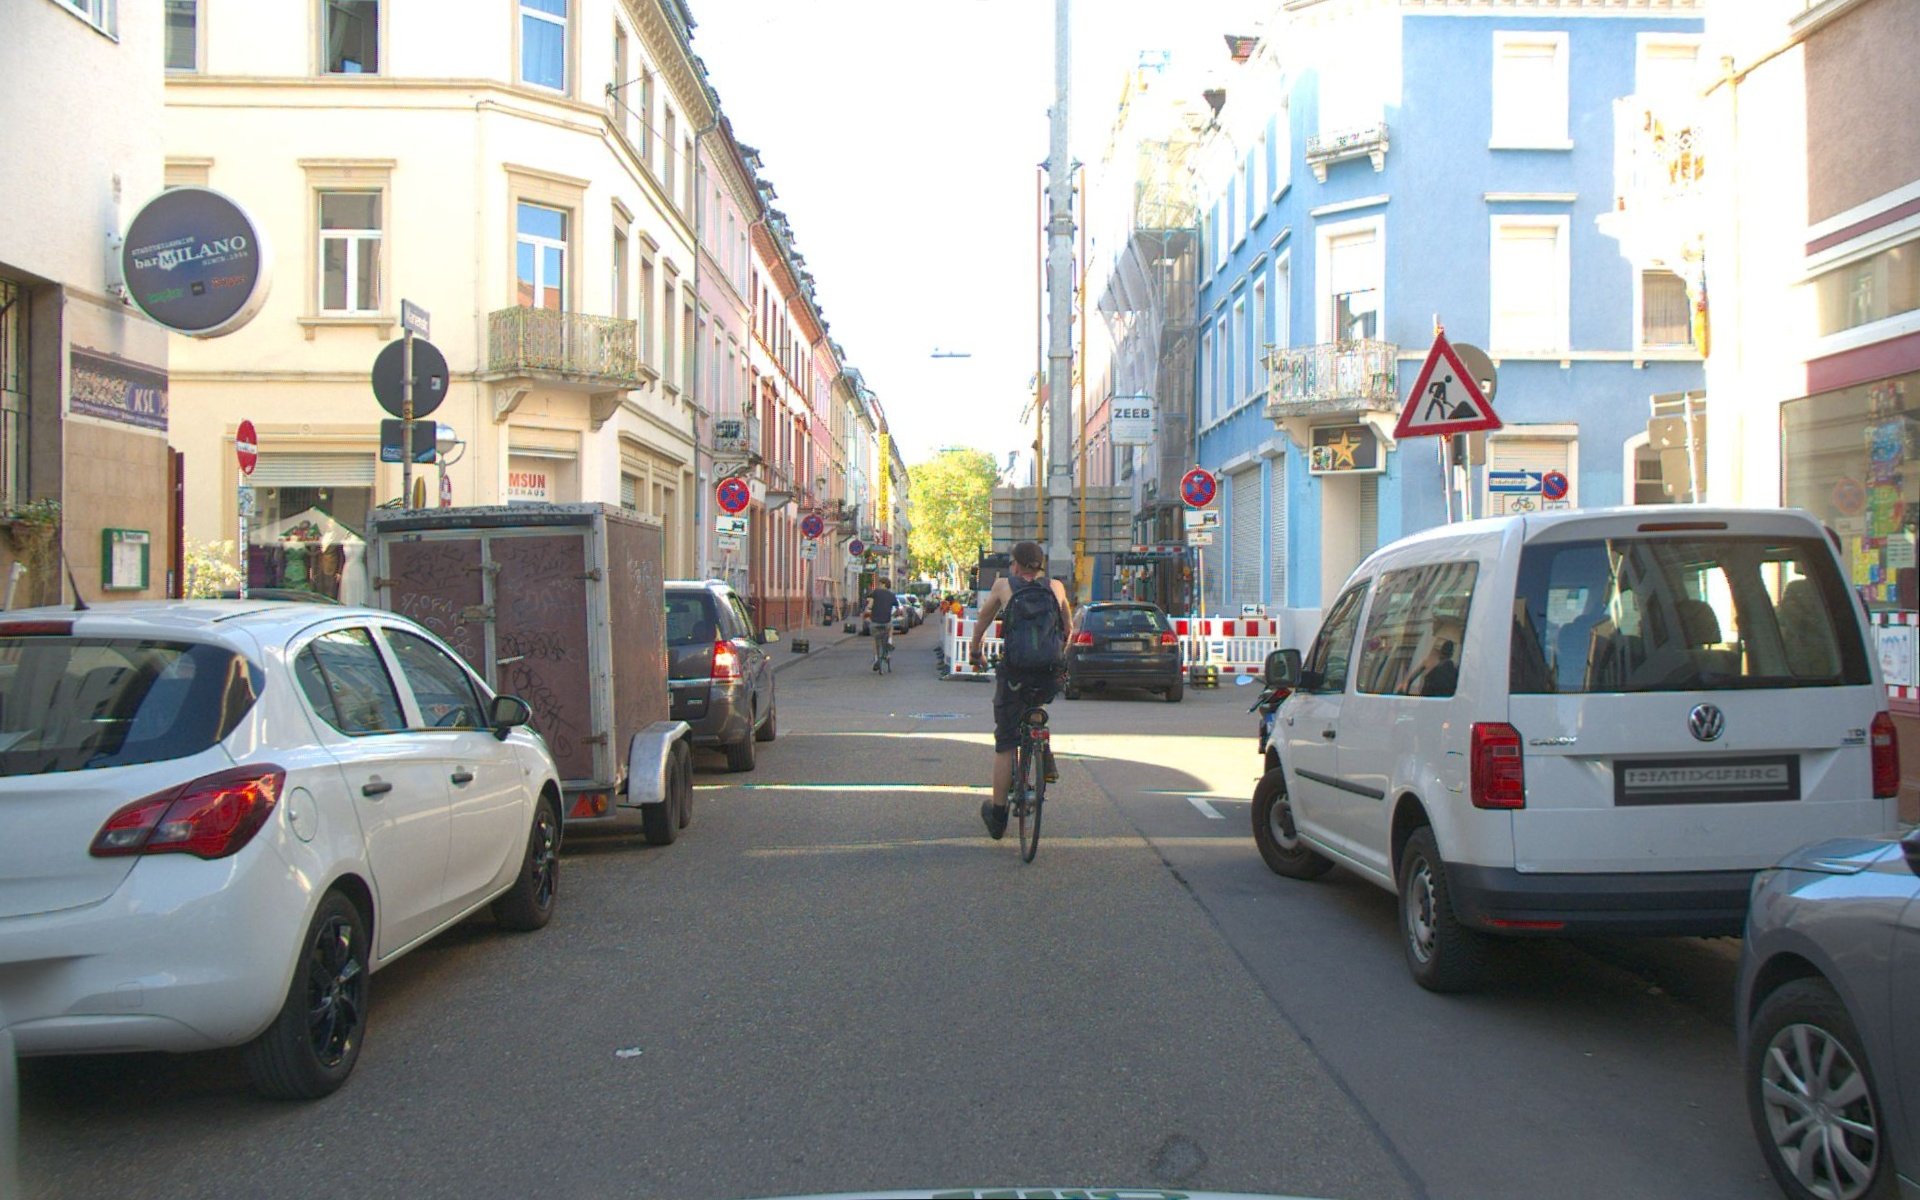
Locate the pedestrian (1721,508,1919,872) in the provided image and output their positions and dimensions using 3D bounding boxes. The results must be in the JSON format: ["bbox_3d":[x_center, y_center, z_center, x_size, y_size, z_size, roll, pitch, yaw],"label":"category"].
[{"bbox_3d":[4.772,0.451,8.904,0.809,1.824,0.990,-2,0,-1],"label":"pedestrian"}]

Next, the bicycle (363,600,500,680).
[{"bbox_3d":[-8.104,0.608,25.400,1.881,1.169,0.613,1,0,6],"label":"bicycle"}]

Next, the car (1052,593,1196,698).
[{"bbox_3d":[2.429,0.642,25.378,1.735,1.459,4.033,1,0,-1],"label":"car"}]

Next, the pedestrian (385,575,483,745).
[{"bbox_3d":[-5.698,0.634,17.957,0.679,1.730,0.865,4,2,0],"label":"pedestrian"}]

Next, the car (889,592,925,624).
[{"bbox_3d":[-2.591,0.389,81.995,1.638,1.467,4.165,-2,0,0],"label":"car"}]

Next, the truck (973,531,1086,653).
[{"bbox_3d":[1.685,-0.173,43.228,2.607,2.863,7.393,1,0,0],"label":"truck"}]

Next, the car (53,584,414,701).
[{"bbox_3d":[-9.658,0.540,22.237,4.056,1.481,1.758,1,0,-3],"label":"car"}]

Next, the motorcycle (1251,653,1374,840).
[{"bbox_3d":[2.427,0.969,11.543,0.703,1.105,1.998,-4,-1,10],"label":"motorcycle"}]

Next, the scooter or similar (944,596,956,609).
[{"bbox_3d":[-0.681,0.164,111.236,0.755,0.888,0.770,1,0,-1],"label":"scooter or similar"}]

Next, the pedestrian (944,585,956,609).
[{"bbox_3d":[-0.687,-0.185,111.642,0.755,1.606,0.900,1,0,-1],"label":"pedestrian"}]

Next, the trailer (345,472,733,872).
[{"bbox_3d":[-2.553,0.387,11.051,1.628,2.097,4.361,-1,0,-3],"label":"trailer"}]

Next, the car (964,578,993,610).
[{"bbox_3d":[1.503,-0.463,140.143,2.261,2.582,6.769,-2,0,0],"label":"car"}]

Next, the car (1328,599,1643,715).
[{"bbox_3d":[7.123,0.755,22.667,3.788,1.479,1.677,1,0,0],"label":"car"}]

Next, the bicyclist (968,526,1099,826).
[{"bbox_3d":[0.414,0.427,9.778,0.687,1.662,1.090,1,0,0],"label":"bicyclist"}]

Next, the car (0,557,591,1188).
[{"bbox_3d":[-2.609,0.708,6.100,1.642,1.582,3.817,-1,0,-1],"label":"car"}]

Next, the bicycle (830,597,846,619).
[{"bbox_3d":[-6.129,0.395,83.158,0.580,1.108,2.079,1,0,0],"label":"bicycle"}]

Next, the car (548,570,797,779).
[{"bbox_3d":[-2.508,0.570,15.348,1.687,1.633,4.165,-1,1,-2],"label":"car"}]

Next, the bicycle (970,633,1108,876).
[{"bbox_3d":[0.428,0.837,9.908,0.687,1.229,2.342,1,0,0],"label":"bicycle"}]

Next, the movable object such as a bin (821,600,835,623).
[{"bbox_3d":[-5.620,0.488,70.311,0.532,0.961,0.487,1,0,0],"label":"movable object such as a bin"}]

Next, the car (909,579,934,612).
[{"bbox_3d":[-3.061,-0.357,129.399,1.871,2.540,4.163,-1,0,-2],"label":"car"}]

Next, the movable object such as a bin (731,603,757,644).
[{"bbox_3d":[-5.607,0.610,42.957,0.593,1.053,0.596,1,0,-2],"label":"movable object such as a bin"}]

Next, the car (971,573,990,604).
[{"bbox_3d":[2.640,-1.411,213.698,2.261,3.833,6.769,-2,0,0],"label":"car"}]

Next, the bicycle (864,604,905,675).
[{"bbox_3d":[-1.416,0.733,31.444,0.687,1.229,2.342,-1,1,-1],"label":"bicycle"}]

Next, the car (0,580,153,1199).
[{"bbox_3d":[-2.605,0.740,1.402,1.639,1.523,4.530,-1,0,-1],"label":"car"}]

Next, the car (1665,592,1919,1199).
[{"bbox_3d":[2.812,0.707,2.767,1.576,1.433,3.881,0,0,-1],"label":"car"}]

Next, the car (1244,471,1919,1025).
[{"bbox_3d":[2.614,0.513,7.817,1.713,1.848,4.369,1,0,-1],"label":"car"}]

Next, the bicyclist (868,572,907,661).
[{"bbox_3d":[-1.372,0.303,31.365,0.687,1.633,0.812,-1,1,-1],"label":"bicyclist"}]

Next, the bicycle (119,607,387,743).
[{"bbox_3d":[-7.431,0.773,17.471,2.425,1.383,0.928,0,0,0],"label":"bicycle"}]

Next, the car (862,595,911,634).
[{"bbox_3d":[-2.826,0.546,64.337,1.676,1.407,4.505,-2,0,0],"label":"car"}]
